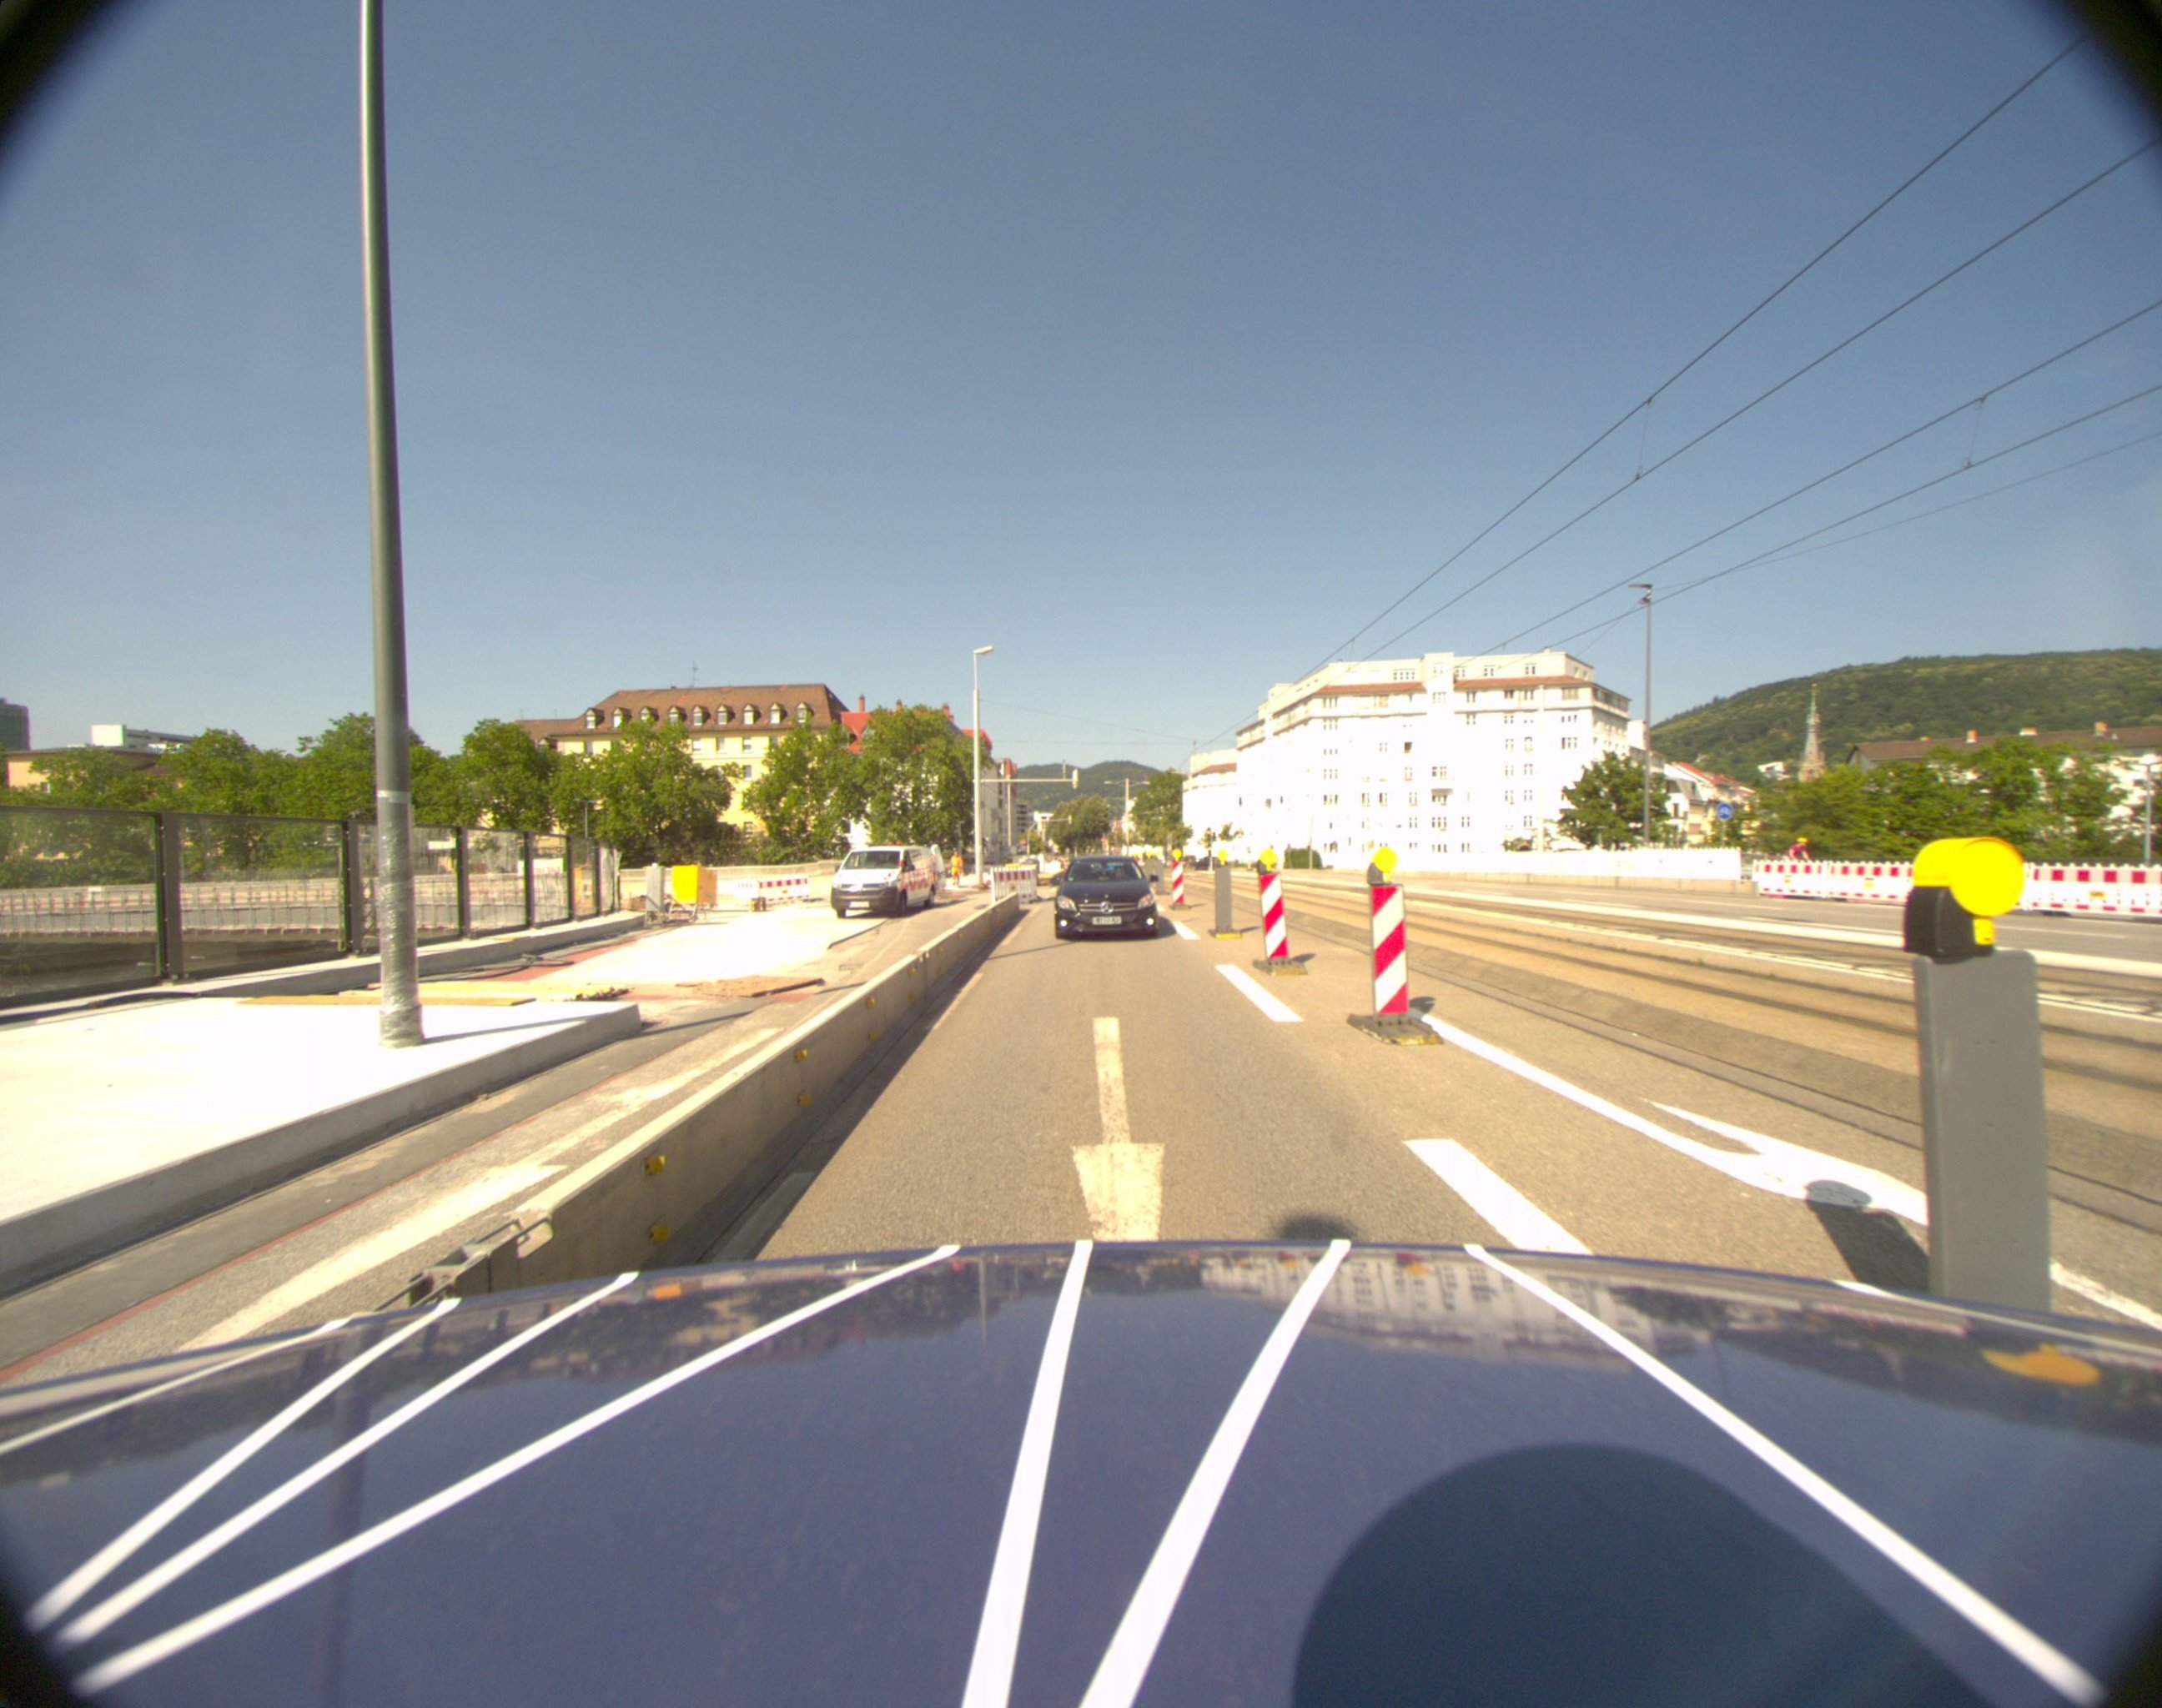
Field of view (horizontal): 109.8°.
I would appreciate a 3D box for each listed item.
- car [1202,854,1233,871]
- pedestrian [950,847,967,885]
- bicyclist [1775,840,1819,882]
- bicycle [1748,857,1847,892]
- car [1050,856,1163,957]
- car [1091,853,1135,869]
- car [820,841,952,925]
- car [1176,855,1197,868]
[{"bbox_3d":[12.345,0.754,68.958,1.802,1.477,3.998,-1,0,-5],"label":"car"},{"bbox_3d":[-6.448,0.607,39.940,0.761,1.973,0.843,1,2,1],"label":"pedestrian"},{"bbox_3d":[26.927,0.250,28.584,0.858,1.510,0.817,-2,1,0],"label":"bicyclist"},{"bbox_3d":[26.946,0.741,28.664,0.858,1.188,3.071,-2,1,0],"label":"bicycle"},{"bbox_3d":[0.425,0.820,13.962,1.698,1.389,4.362,-2,1,1],"label":"car"},{"bbox_3d":[3.270,0.737,77.127,3.989,1.477,2.044,-2,0,38],"label":"car"},{"bbox_3d":[-5.578,0.697,22.773,1.938,2.078,6.469,-1,1,3],"label":"car"},{"bbox_3d":[13.135,0.868,94.943,2.039,1.478,3.998,0,1,-1],"label":"car"}]
